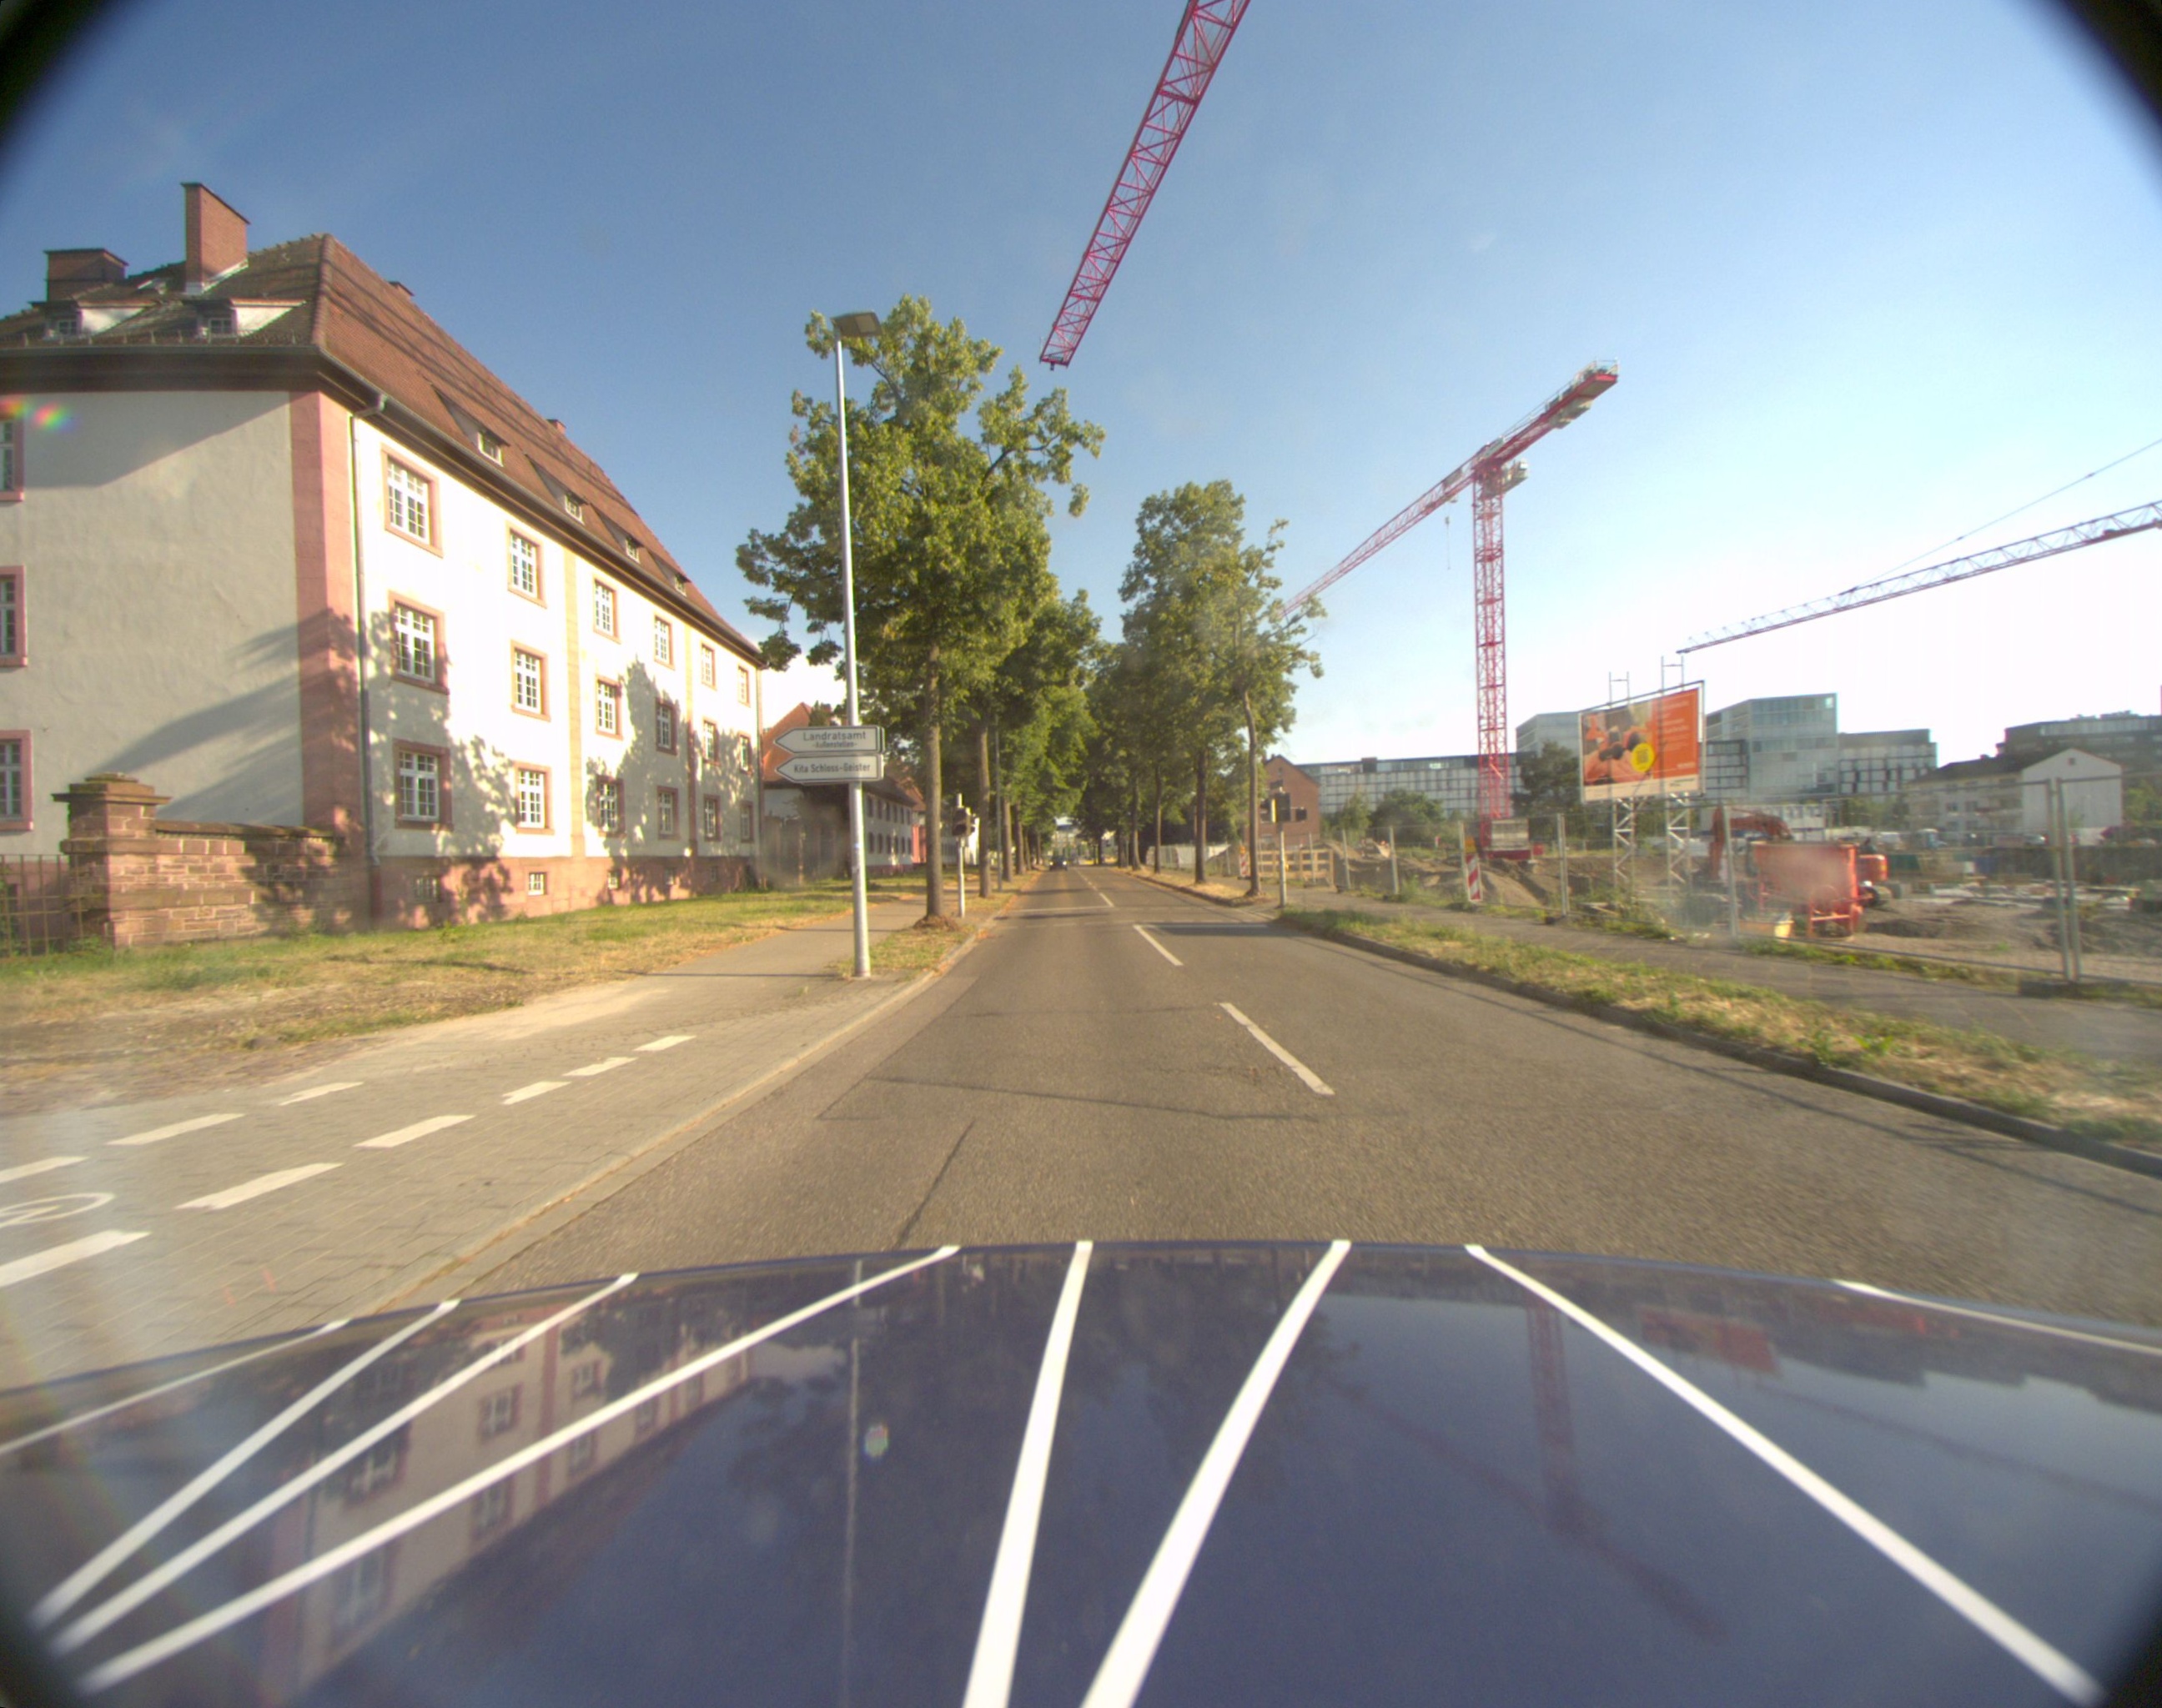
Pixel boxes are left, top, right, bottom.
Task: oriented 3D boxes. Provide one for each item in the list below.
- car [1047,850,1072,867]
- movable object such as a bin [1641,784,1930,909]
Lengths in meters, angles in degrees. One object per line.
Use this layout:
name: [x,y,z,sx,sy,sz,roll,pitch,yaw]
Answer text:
car: [-2.068,0.446,71.232,1.777,1.492,3.670,-2,0,-10]
movable object such as a bin: [34.389,-0.491,38.355,4.095,5.035,12.224,-4,2,6]
